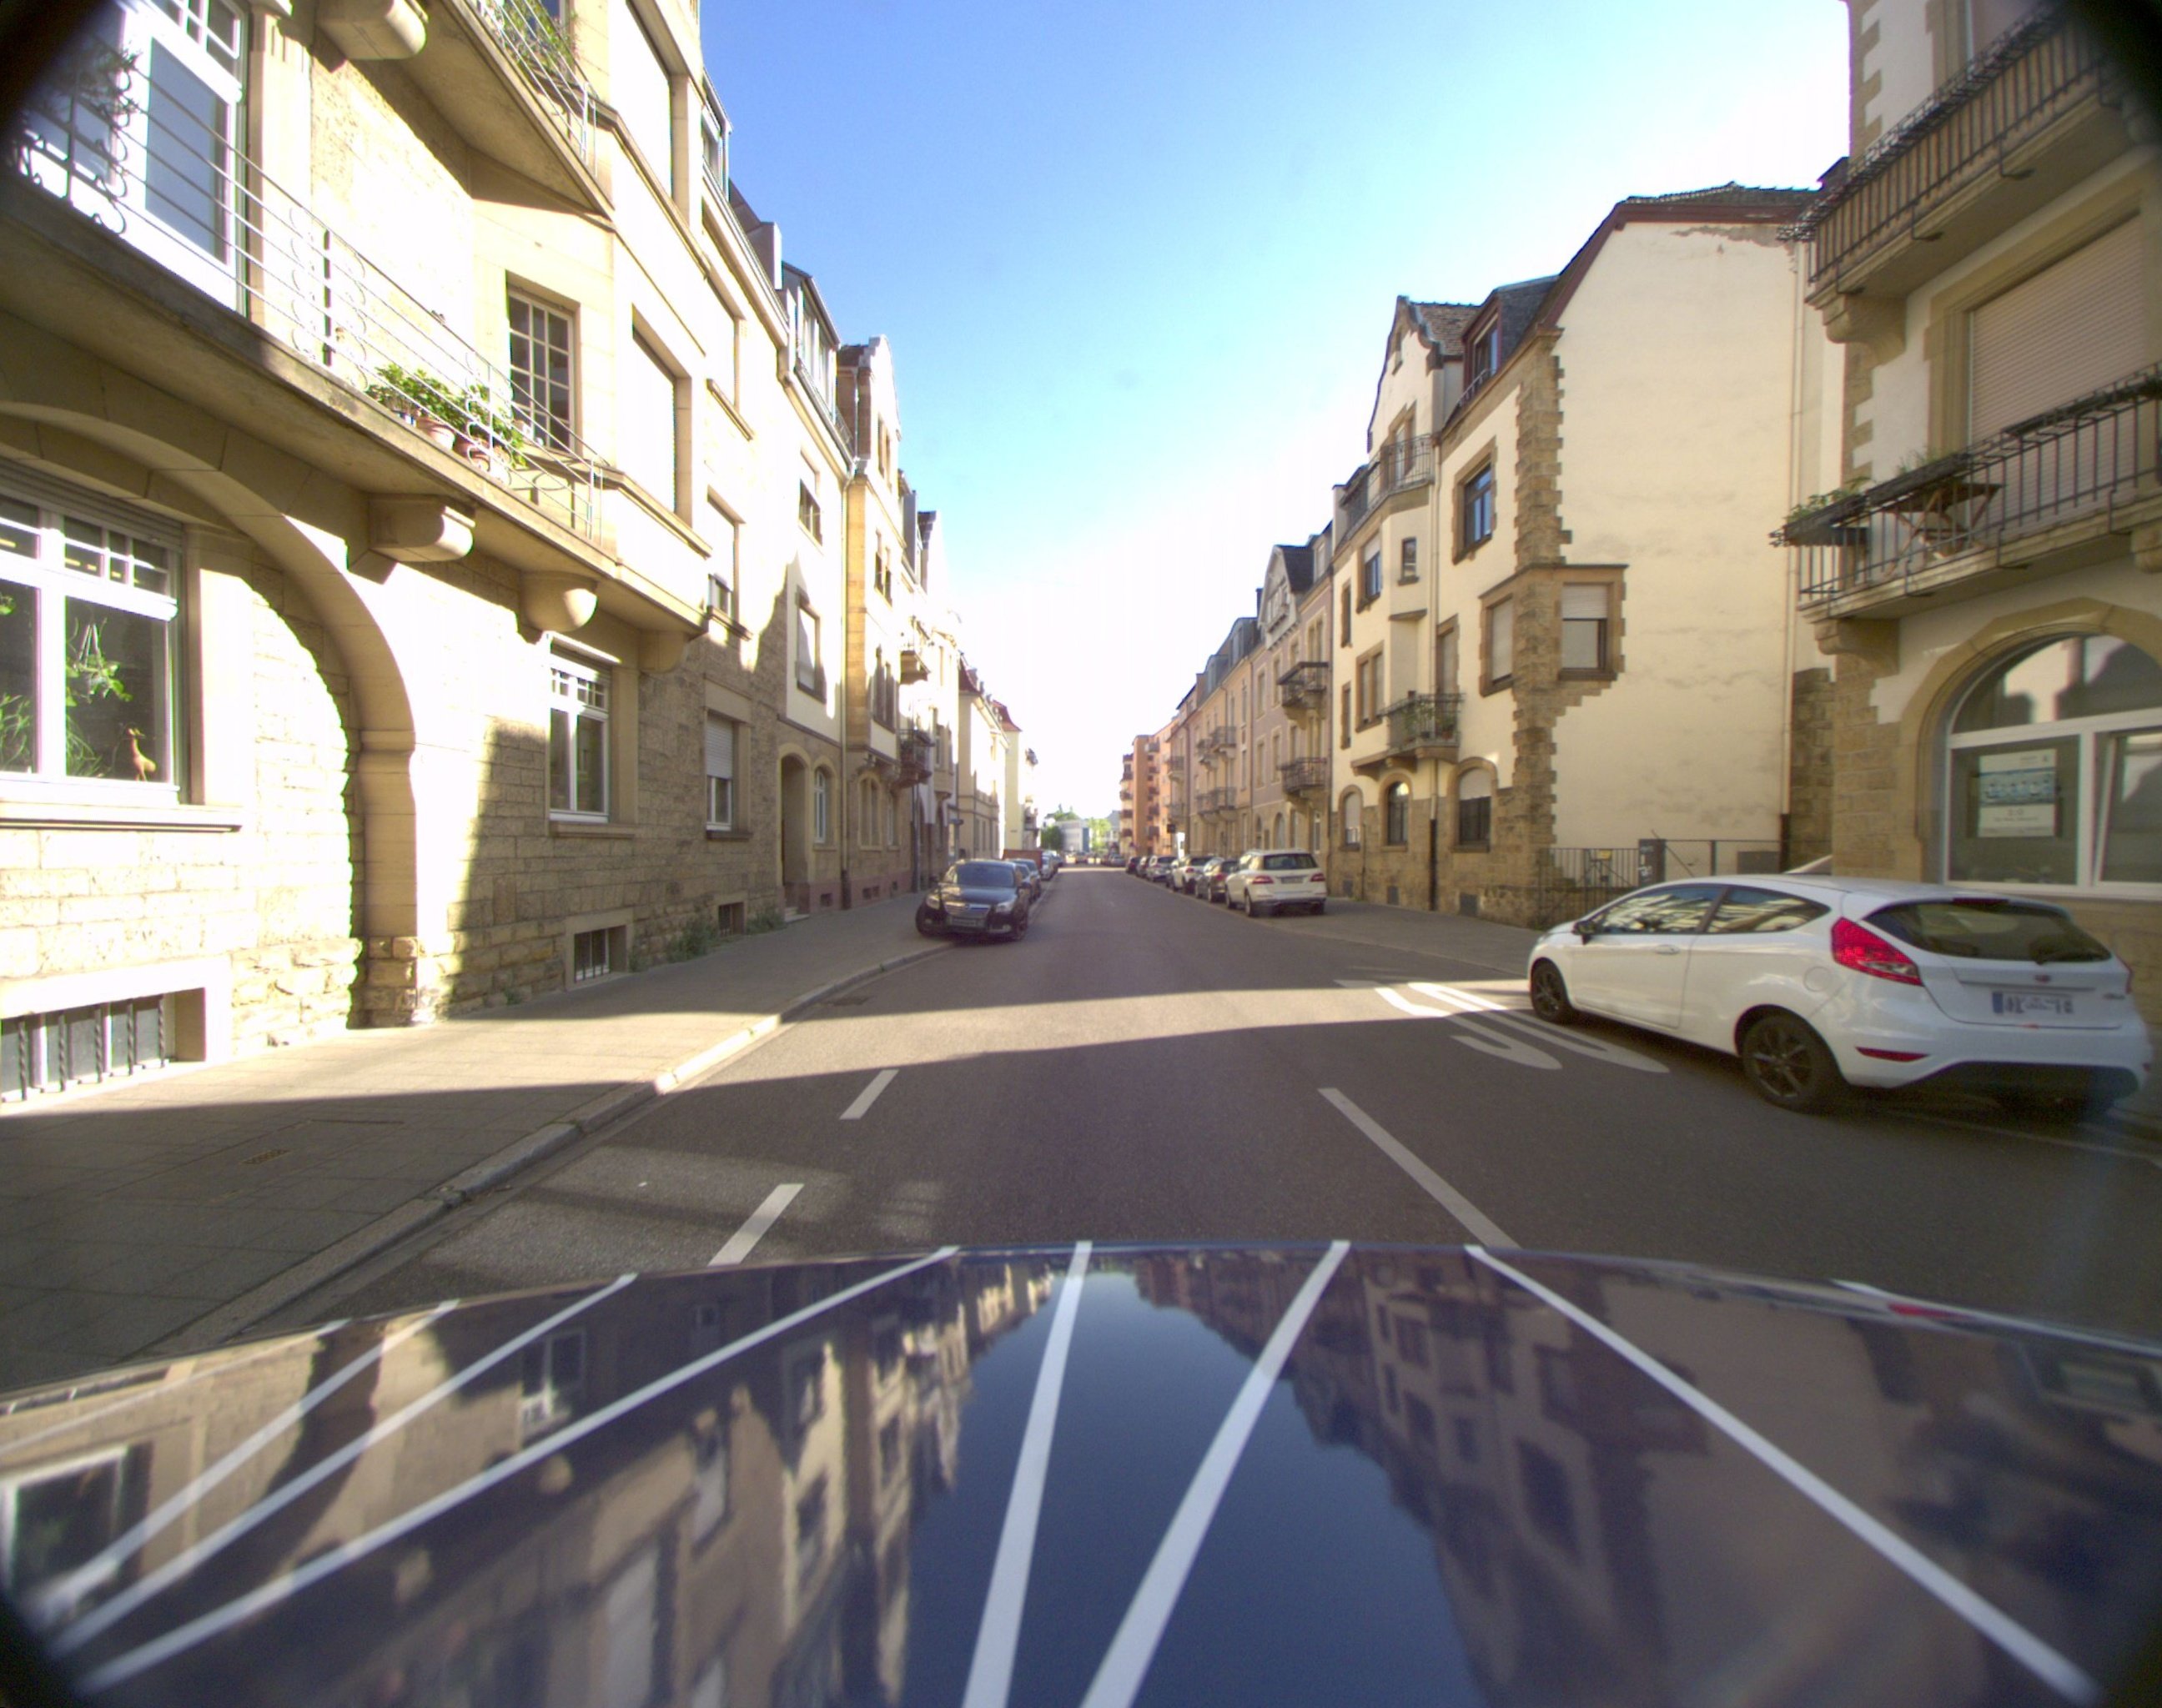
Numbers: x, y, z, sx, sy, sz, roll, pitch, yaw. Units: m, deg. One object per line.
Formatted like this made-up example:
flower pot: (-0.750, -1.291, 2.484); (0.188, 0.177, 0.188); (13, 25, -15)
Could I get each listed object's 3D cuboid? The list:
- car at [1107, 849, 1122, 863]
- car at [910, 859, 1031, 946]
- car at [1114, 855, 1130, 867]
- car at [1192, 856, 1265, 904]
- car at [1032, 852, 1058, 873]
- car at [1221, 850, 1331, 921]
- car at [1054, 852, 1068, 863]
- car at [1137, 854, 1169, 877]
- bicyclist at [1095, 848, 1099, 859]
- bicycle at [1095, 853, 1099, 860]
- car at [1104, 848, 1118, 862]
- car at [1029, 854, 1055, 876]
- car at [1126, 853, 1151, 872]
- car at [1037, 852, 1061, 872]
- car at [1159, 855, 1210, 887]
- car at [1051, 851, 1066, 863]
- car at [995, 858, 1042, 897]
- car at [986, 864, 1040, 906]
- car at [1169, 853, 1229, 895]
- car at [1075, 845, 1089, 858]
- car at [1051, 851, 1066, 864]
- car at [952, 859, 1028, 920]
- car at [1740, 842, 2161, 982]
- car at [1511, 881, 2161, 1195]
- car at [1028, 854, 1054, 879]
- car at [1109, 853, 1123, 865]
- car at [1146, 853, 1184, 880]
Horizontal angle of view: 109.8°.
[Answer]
car: (4.493, 0.232, 101.990); (1.822, 1.867, 4.111); (0, 0, 0)
car: (-2.071, 0.867, 15.457); (1.870, 1.453, 4.338); (0, 0, -1)
car: (4.866, 0.872, 91.084); (1.678, 1.414, 3.500); (0, 0, 0)
car: (5.083, 0.848, 26.699); (1.578, 1.479, 4.279); (-2, 0, -2)
car: (-2.759, 0.607, 59.090); (1.684, 1.537, 3.914); (1, 0, 1)
car: (5.215, 0.760, 20.955); (1.896, 1.712, 4.726); (-1, 0, 1)
car: (-2.646, 0.414, 99.706); (1.708, 1.417, 3.721); (0, 0, -2)
car: (4.897, 0.758, 52.396); (1.719, 1.512, 4.109); (1, 0, -1)
bicyclist: (2.366, -0.049, 112.858); (0.609, 1.656, 0.632); (0, 1, 0)
bicycle: (2.351, 0.397, 112.910); (0.541, 1.070, 1.800); (0, 0, 1)
car: (4.288, 0.108, 107.647); (1.822, 1.867, 4.111); (0, 0, 0)
car: (-2.666, 0.742, 53.022); (1.657, 1.456, 4.093); (0, 0, -1)
car: (4.728, 0.681, 62.683); (1.719, 1.378, 3.864); (-3, 0, 0)
car: (-2.641, 0.643, 63.524); (1.791, 1.655, 4.434); (0, 0, 1)
car: (5.040, 0.808, 37.573); (1.677, 1.385, 3.664); (-3, 0, -5)
car: (-2.752, 0.343, 93.357); (1.708, 1.417, 3.721); (1, 1, -1)
car: (-2.484, 0.891, 30.666); (1.791, 1.421, 3.806); (0, 0, -4)
car: (-2.284, 1.027, 26.224); (1.697, 1.247, 3.940); (-1, 0, -3)
car: (4.924, 0.780, 32.190); (1.719, 1.574, 4.019); (-3, 0, -2)
car: (0.099, -0.429, 119.315); (1.868, 1.925, 4.598); (0, 0, -3)
car: (-2.609, 0.388, 87.893); (1.708, 1.417, 3.721); (1, 1, -1)
car: (-2.378, 0.888, 20.825); (1.655, 1.434, 4.257); (1, 0, -1)
car: (11.836, 0.724, 10.386); (3.978, 1.718, 1.909); (0, 0, 0)
car: (5.106, 1.019, 5.793); (1.637, 1.455, 3.735); (0, 1, 2)
car: (-2.469, 0.751, 47.635); (1.590, 1.456, 3.711); (0, 0, -2)
car: (4.413, 0.628, 96.338); (1.678, 1.414, 3.285); (1, 0, 0)
car: (5.004, 0.717, 45.704); (1.719, 1.529, 3.722); (-1, 0, -2)
